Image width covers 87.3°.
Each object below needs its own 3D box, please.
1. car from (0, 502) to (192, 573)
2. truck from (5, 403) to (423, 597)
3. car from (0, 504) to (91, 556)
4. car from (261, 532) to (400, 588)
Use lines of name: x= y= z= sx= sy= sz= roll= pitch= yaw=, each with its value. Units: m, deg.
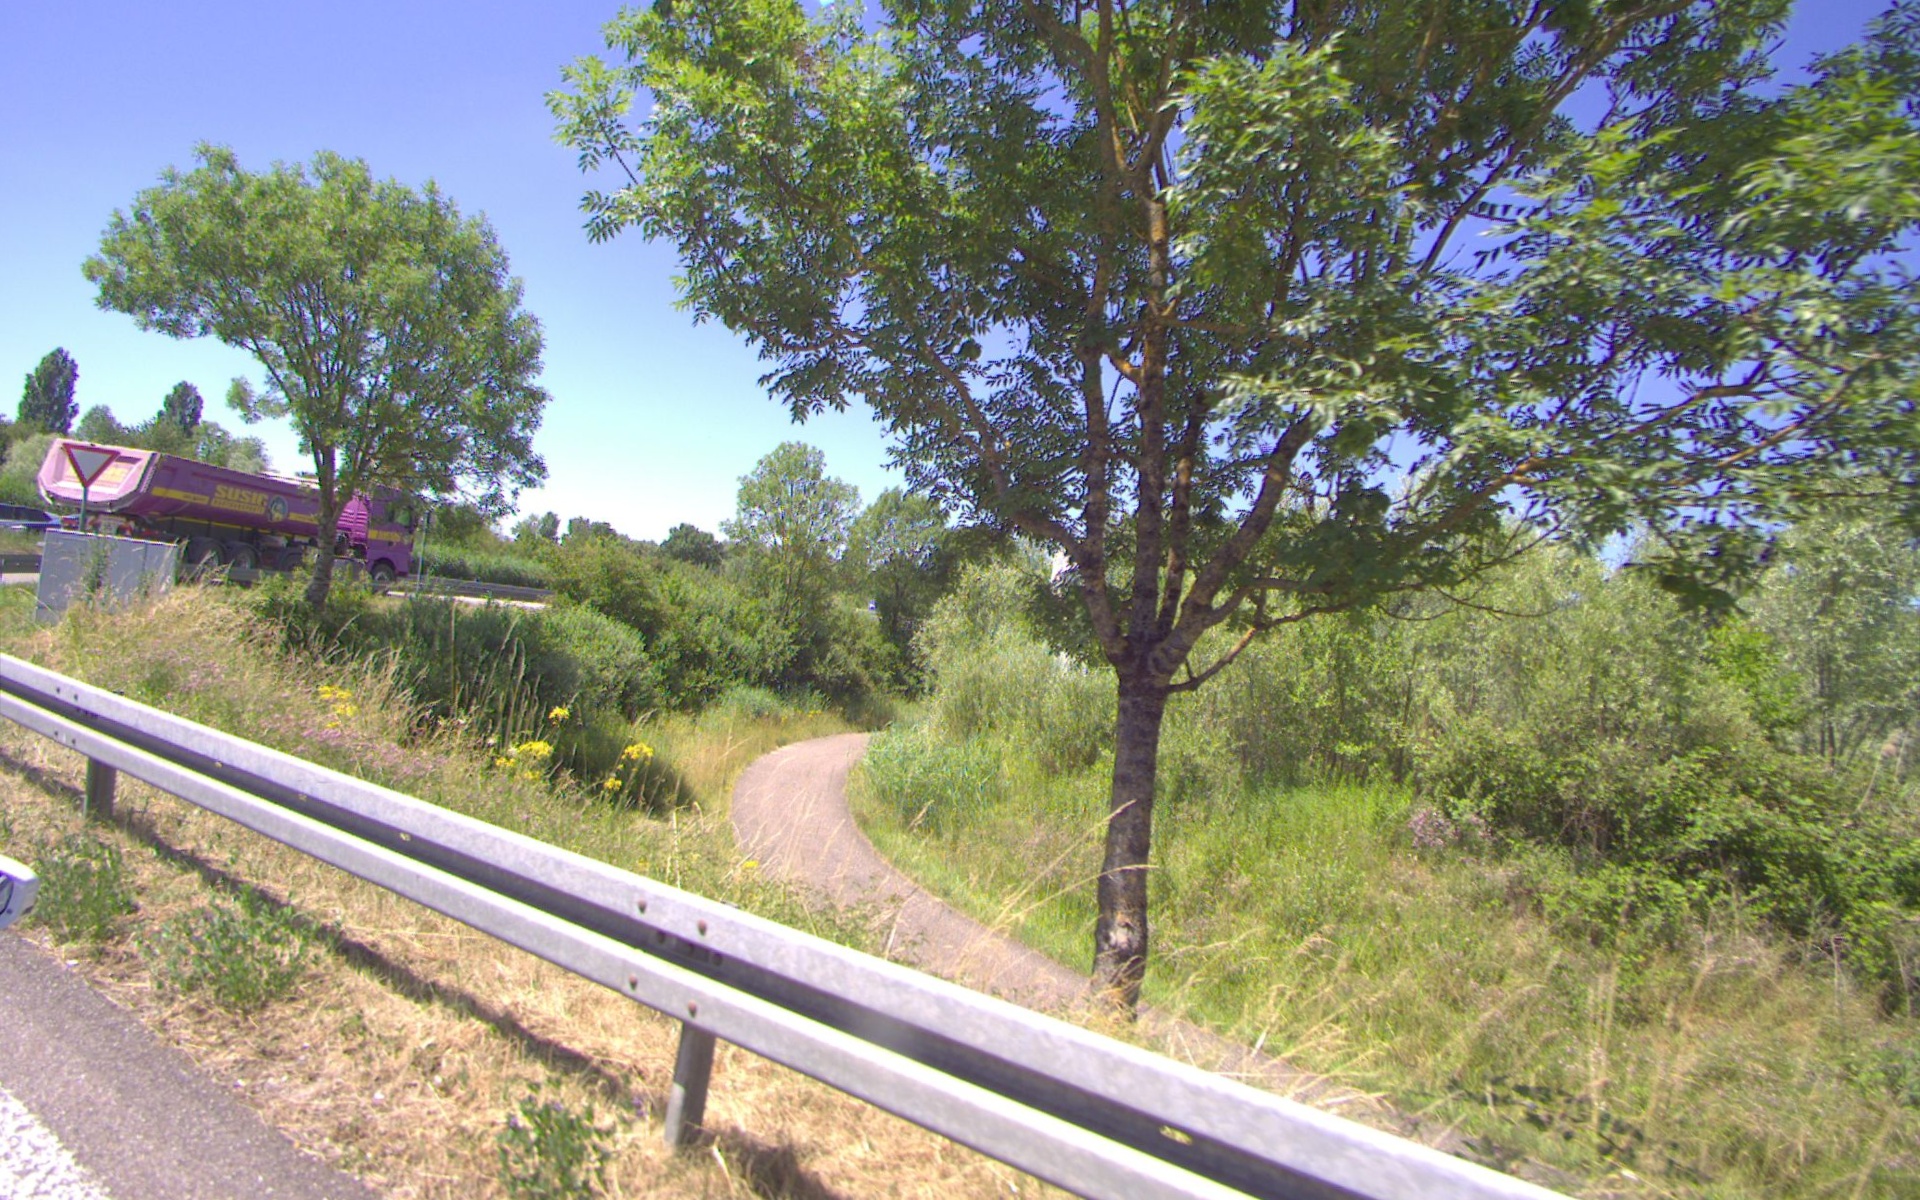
car: x=-28.199 y=-1.992 z=32.556 sx=1.899 sy=1.651 sz=4.940 roll=6 pitch=-1 yaw=24
truck: x=-20.521 y=-2.357 z=29.329 sx=2.789 sy=3.867 sz=11.889 roll=7 pitch=-1 yaw=1
car: x=-31.720 y=-2.474 z=32.962 sx=1.964 sy=1.415 sz=4.404 roll=6 pitch=-1 yaw=25
car: x=-24.848 y=-1.537 z=39.869 sx=1.898 sy=1.651 sz=4.238 roll=6 pitch=-1 yaw=23
